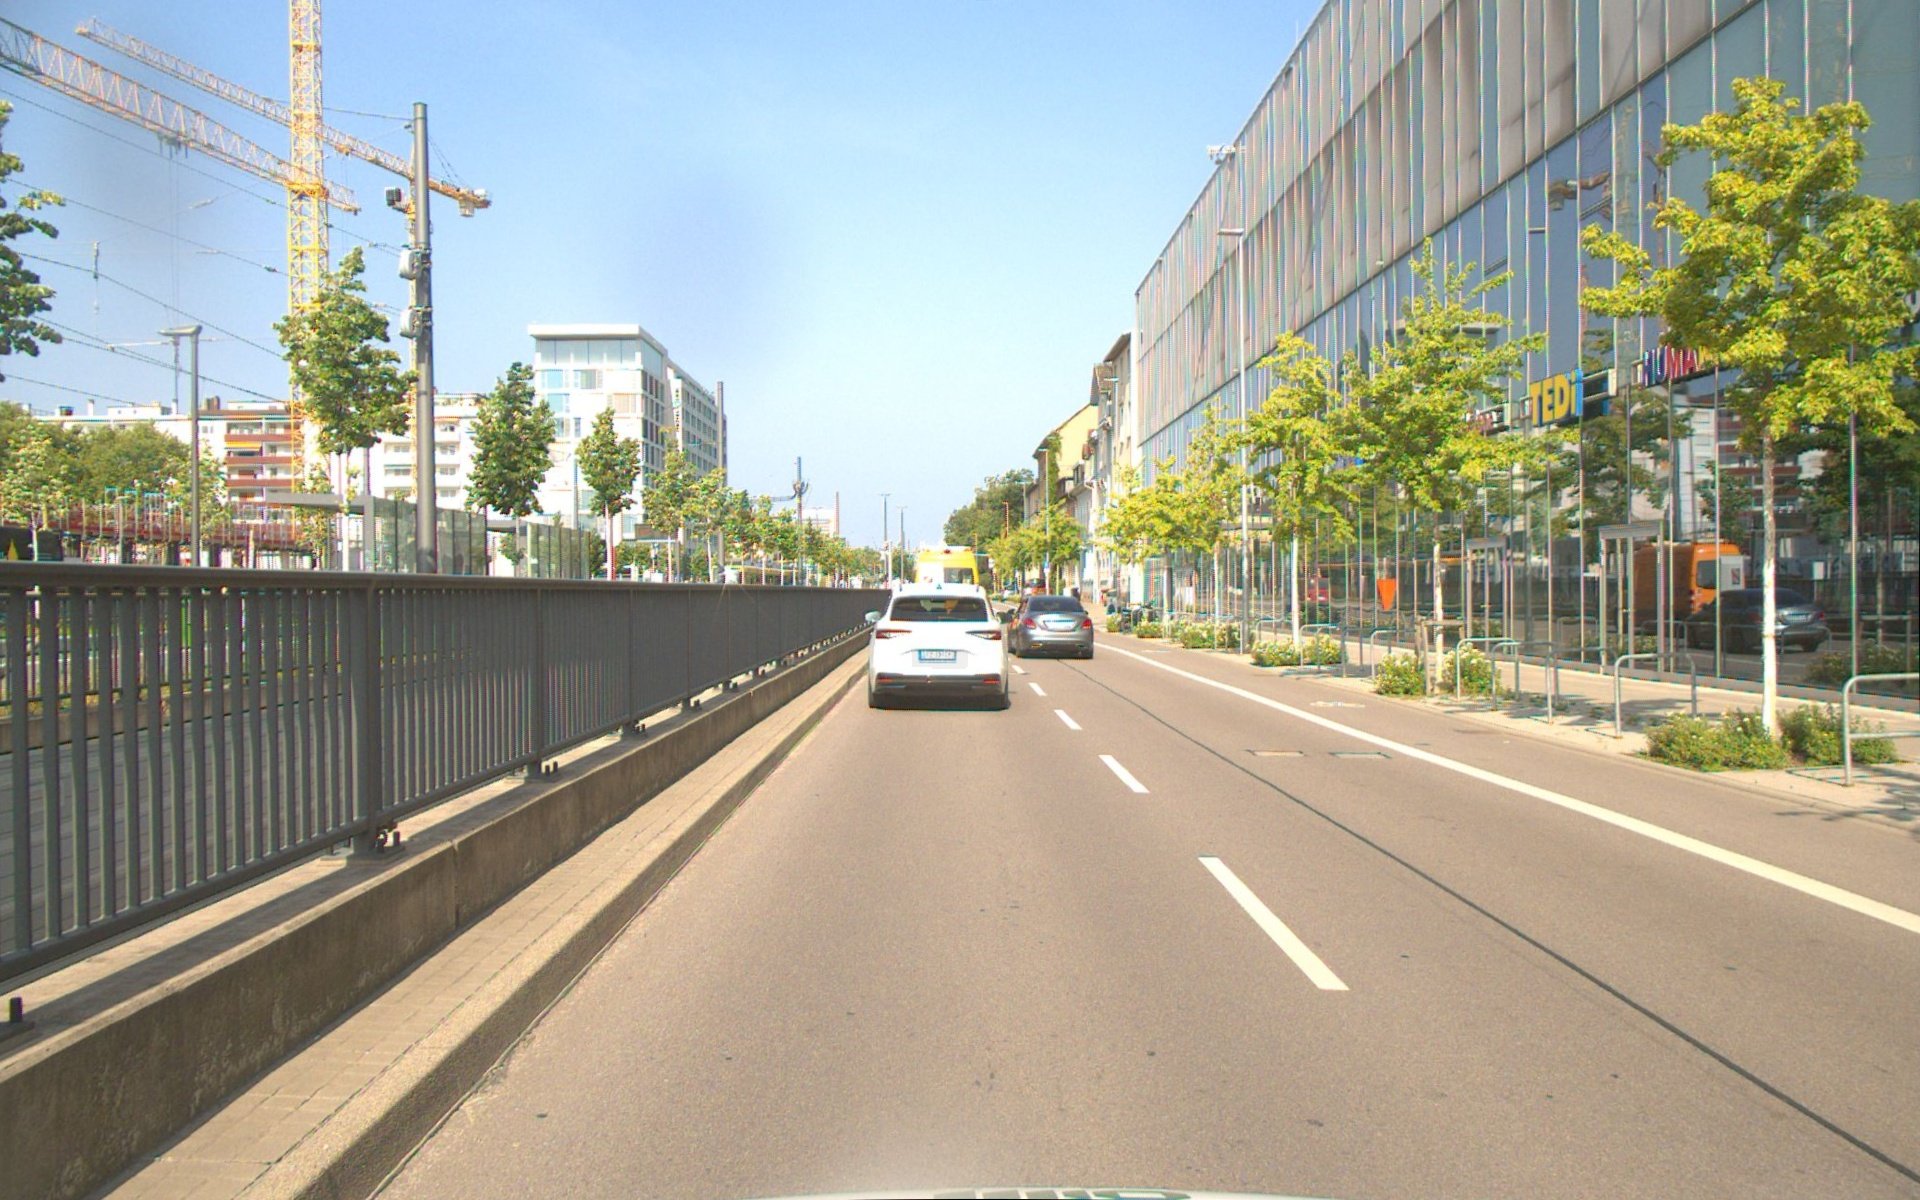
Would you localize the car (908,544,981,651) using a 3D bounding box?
[{"bbox_3d":[-0.429,-0.157,48.178,1.979,2.844,5.401,-1,3,0],"label":"car"}]

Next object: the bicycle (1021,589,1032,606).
[{"bbox_3d":[3.862,-0.158,96.183,0.642,0.955,1.517,0,1,2],"label":"bicycle"}]

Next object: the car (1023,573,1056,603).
[{"bbox_3d":[5.591,-0.859,116.800,2.021,2.048,4.588,-1,1,-1],"label":"car"}]

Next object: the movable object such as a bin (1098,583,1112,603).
[{"bbox_3d":[8.954,-0.426,102.214,0.666,1.172,0.607,-2,3,-45],"label":"movable object such as a bin"}]

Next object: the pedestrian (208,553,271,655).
[{"bbox_3d":[-11.760,0.060,27.020,0.721,1.647,0.710,0,0,-1],"label":"pedestrian"}]

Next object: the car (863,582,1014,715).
[{"bbox_3d":[-0.270,0.572,22.235,1.831,1.602,4.000,-1,1,0],"label":"car"}]

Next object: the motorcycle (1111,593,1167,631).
[{"bbox_3d":[6.736,0.453,62.261,1.934,1.373,0.865,-1,0,-12],"label":"motorcycle"}]

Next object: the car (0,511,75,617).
[{"bbox_3d":[-33.944,-1.228,56.117,2.992,3.574,9.232,0,0,-1],"label":"car"}]

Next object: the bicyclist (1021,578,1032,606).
[{"bbox_3d":[3.856,-0.458,96.049,0.626,1.604,0.771,0,0,1],"label":"bicyclist"}]

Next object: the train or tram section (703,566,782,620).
[{"bbox_3d":[-16.302,-0.559,125.534,2.845,3.740,18.142,1,0,2],"label":"train or tram section"}]

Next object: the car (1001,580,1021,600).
[{"bbox_3d":[4.895,-0.997,160.273,1.776,1.844,3.835,0,1,-1],"label":"car"}]

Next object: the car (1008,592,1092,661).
[{"bbox_3d":[2.068,0.587,38.965,1.724,1.461,4.115,1,1,0],"label":"car"}]
